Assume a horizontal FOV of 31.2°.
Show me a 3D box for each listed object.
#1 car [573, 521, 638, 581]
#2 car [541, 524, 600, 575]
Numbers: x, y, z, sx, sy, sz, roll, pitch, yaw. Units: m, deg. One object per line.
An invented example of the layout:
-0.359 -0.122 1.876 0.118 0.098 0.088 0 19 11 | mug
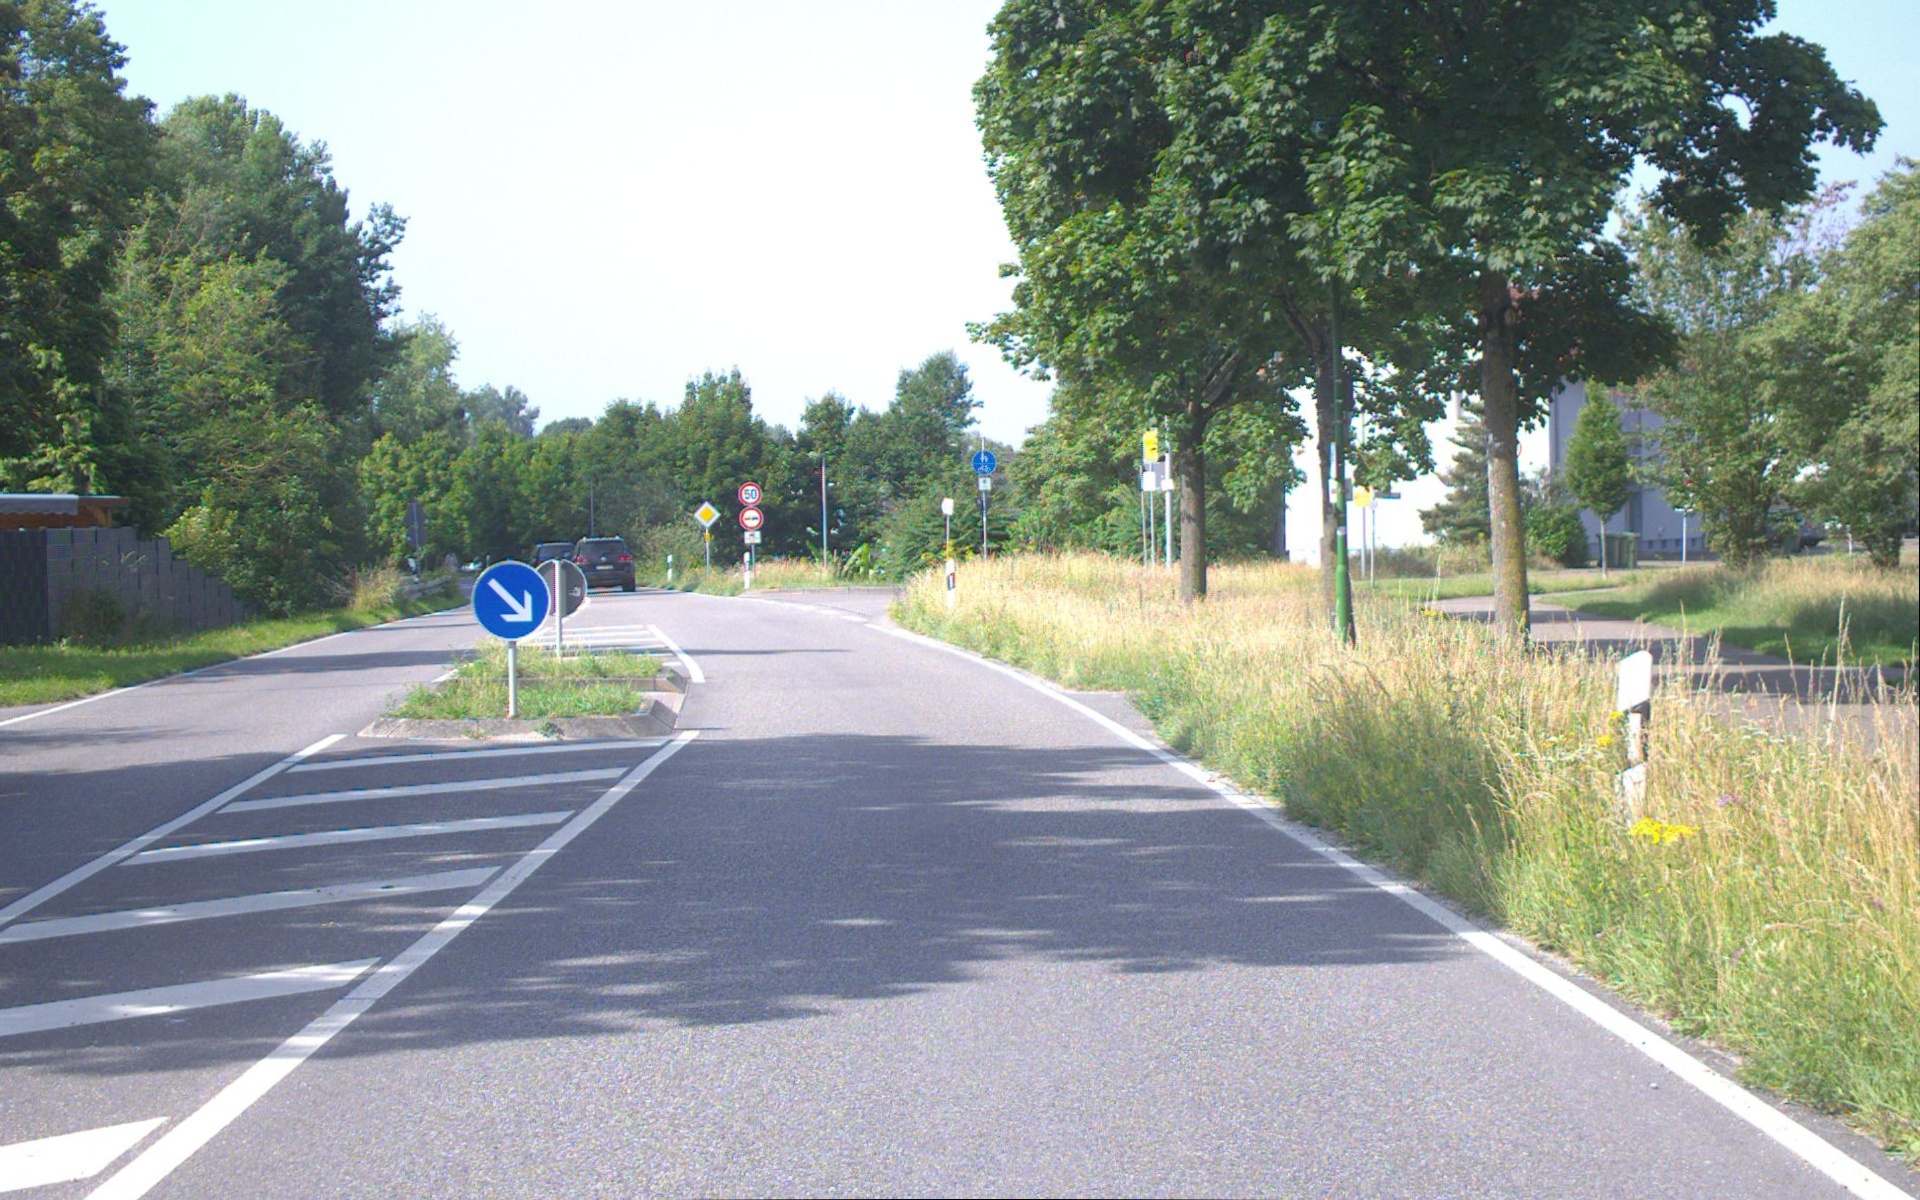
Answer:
-10.852 -1.518 105.179 1.925 1.765 4.001 -1 2 -6 | car
-14.141 -1.847 124.684 2.003 1.765 4.001 -1 2 -7 | car
